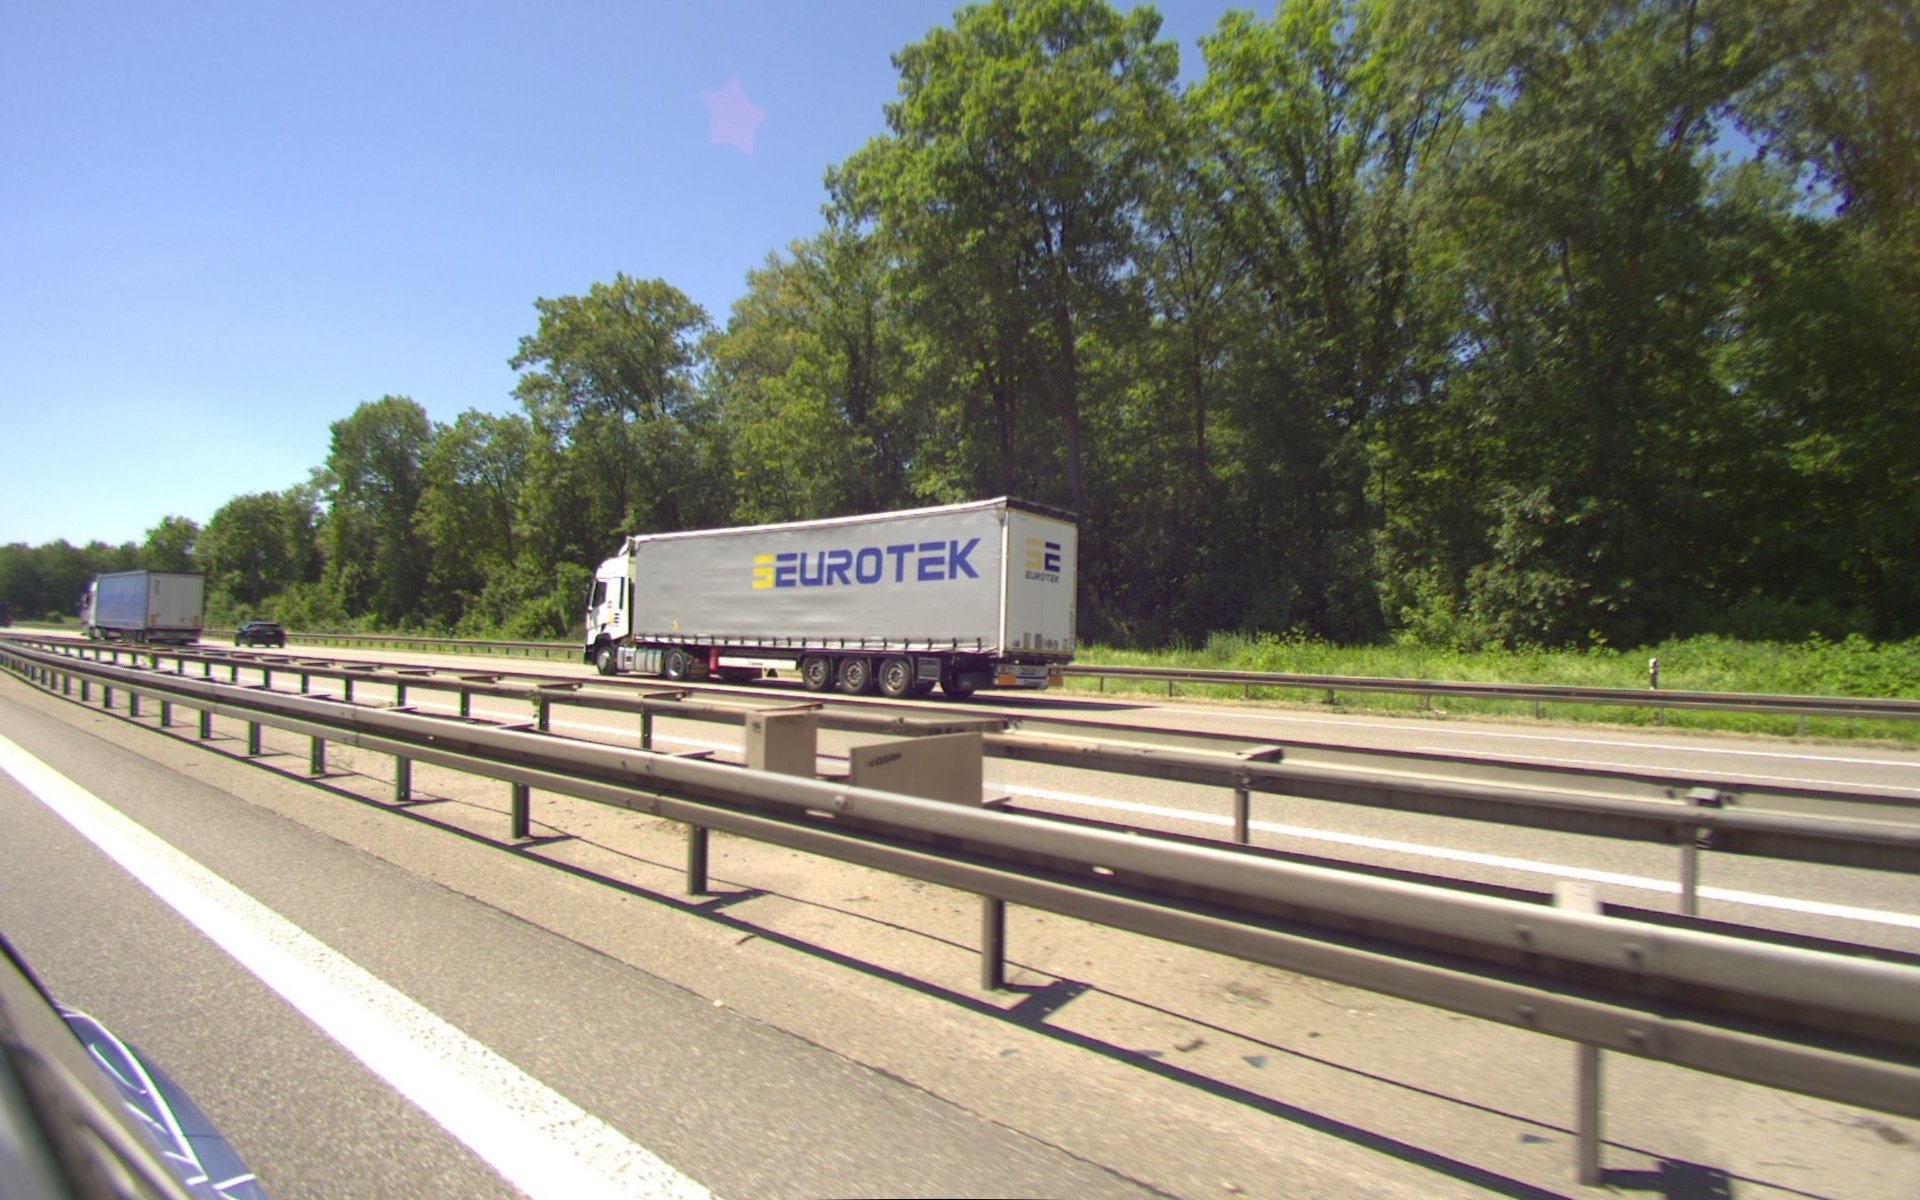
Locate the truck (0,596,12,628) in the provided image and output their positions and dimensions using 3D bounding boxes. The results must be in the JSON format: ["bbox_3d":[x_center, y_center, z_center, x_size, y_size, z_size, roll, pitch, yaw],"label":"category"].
[{"bbox_3d":[-139.553,1.701,145.580,13.903,4.374,3.289,0,0,41],"label":"truck"}]

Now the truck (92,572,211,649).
[{"bbox_3d":[-46.961,0.591,58.529,13.929,4.049,2.956,0,0,41],"label":"truck"}]

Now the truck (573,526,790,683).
[{"bbox_3d":[-8.250,0.215,29.626,6.456,4.093,2.938,-1,-4,41],"label":"truck"}]

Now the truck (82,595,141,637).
[{"bbox_3d":[-71.013,1.304,84.668,7.658,3.419,2.720,0,0,42],"label":"truck"}]

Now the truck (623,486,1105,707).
[{"bbox_3d":[-3.178,0.058,25.257,13.952,4.284,3.034,0,-4,41],"label":"truck"}]

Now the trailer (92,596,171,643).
[{"bbox_3d":[-65.090,1.490,79.320,13.285,3.419,2.750,0,0,42],"label":"trailer"}]

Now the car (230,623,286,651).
[{"bbox_3d":[-40.192,2.109,57.937,4.010,1.547,1.805,-1,-2,43],"label":"car"}]

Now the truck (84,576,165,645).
[{"bbox_3d":[-51.902,0.631,62.827,6.038,4.049,2.956,-1,0,41],"label":"truck"}]
